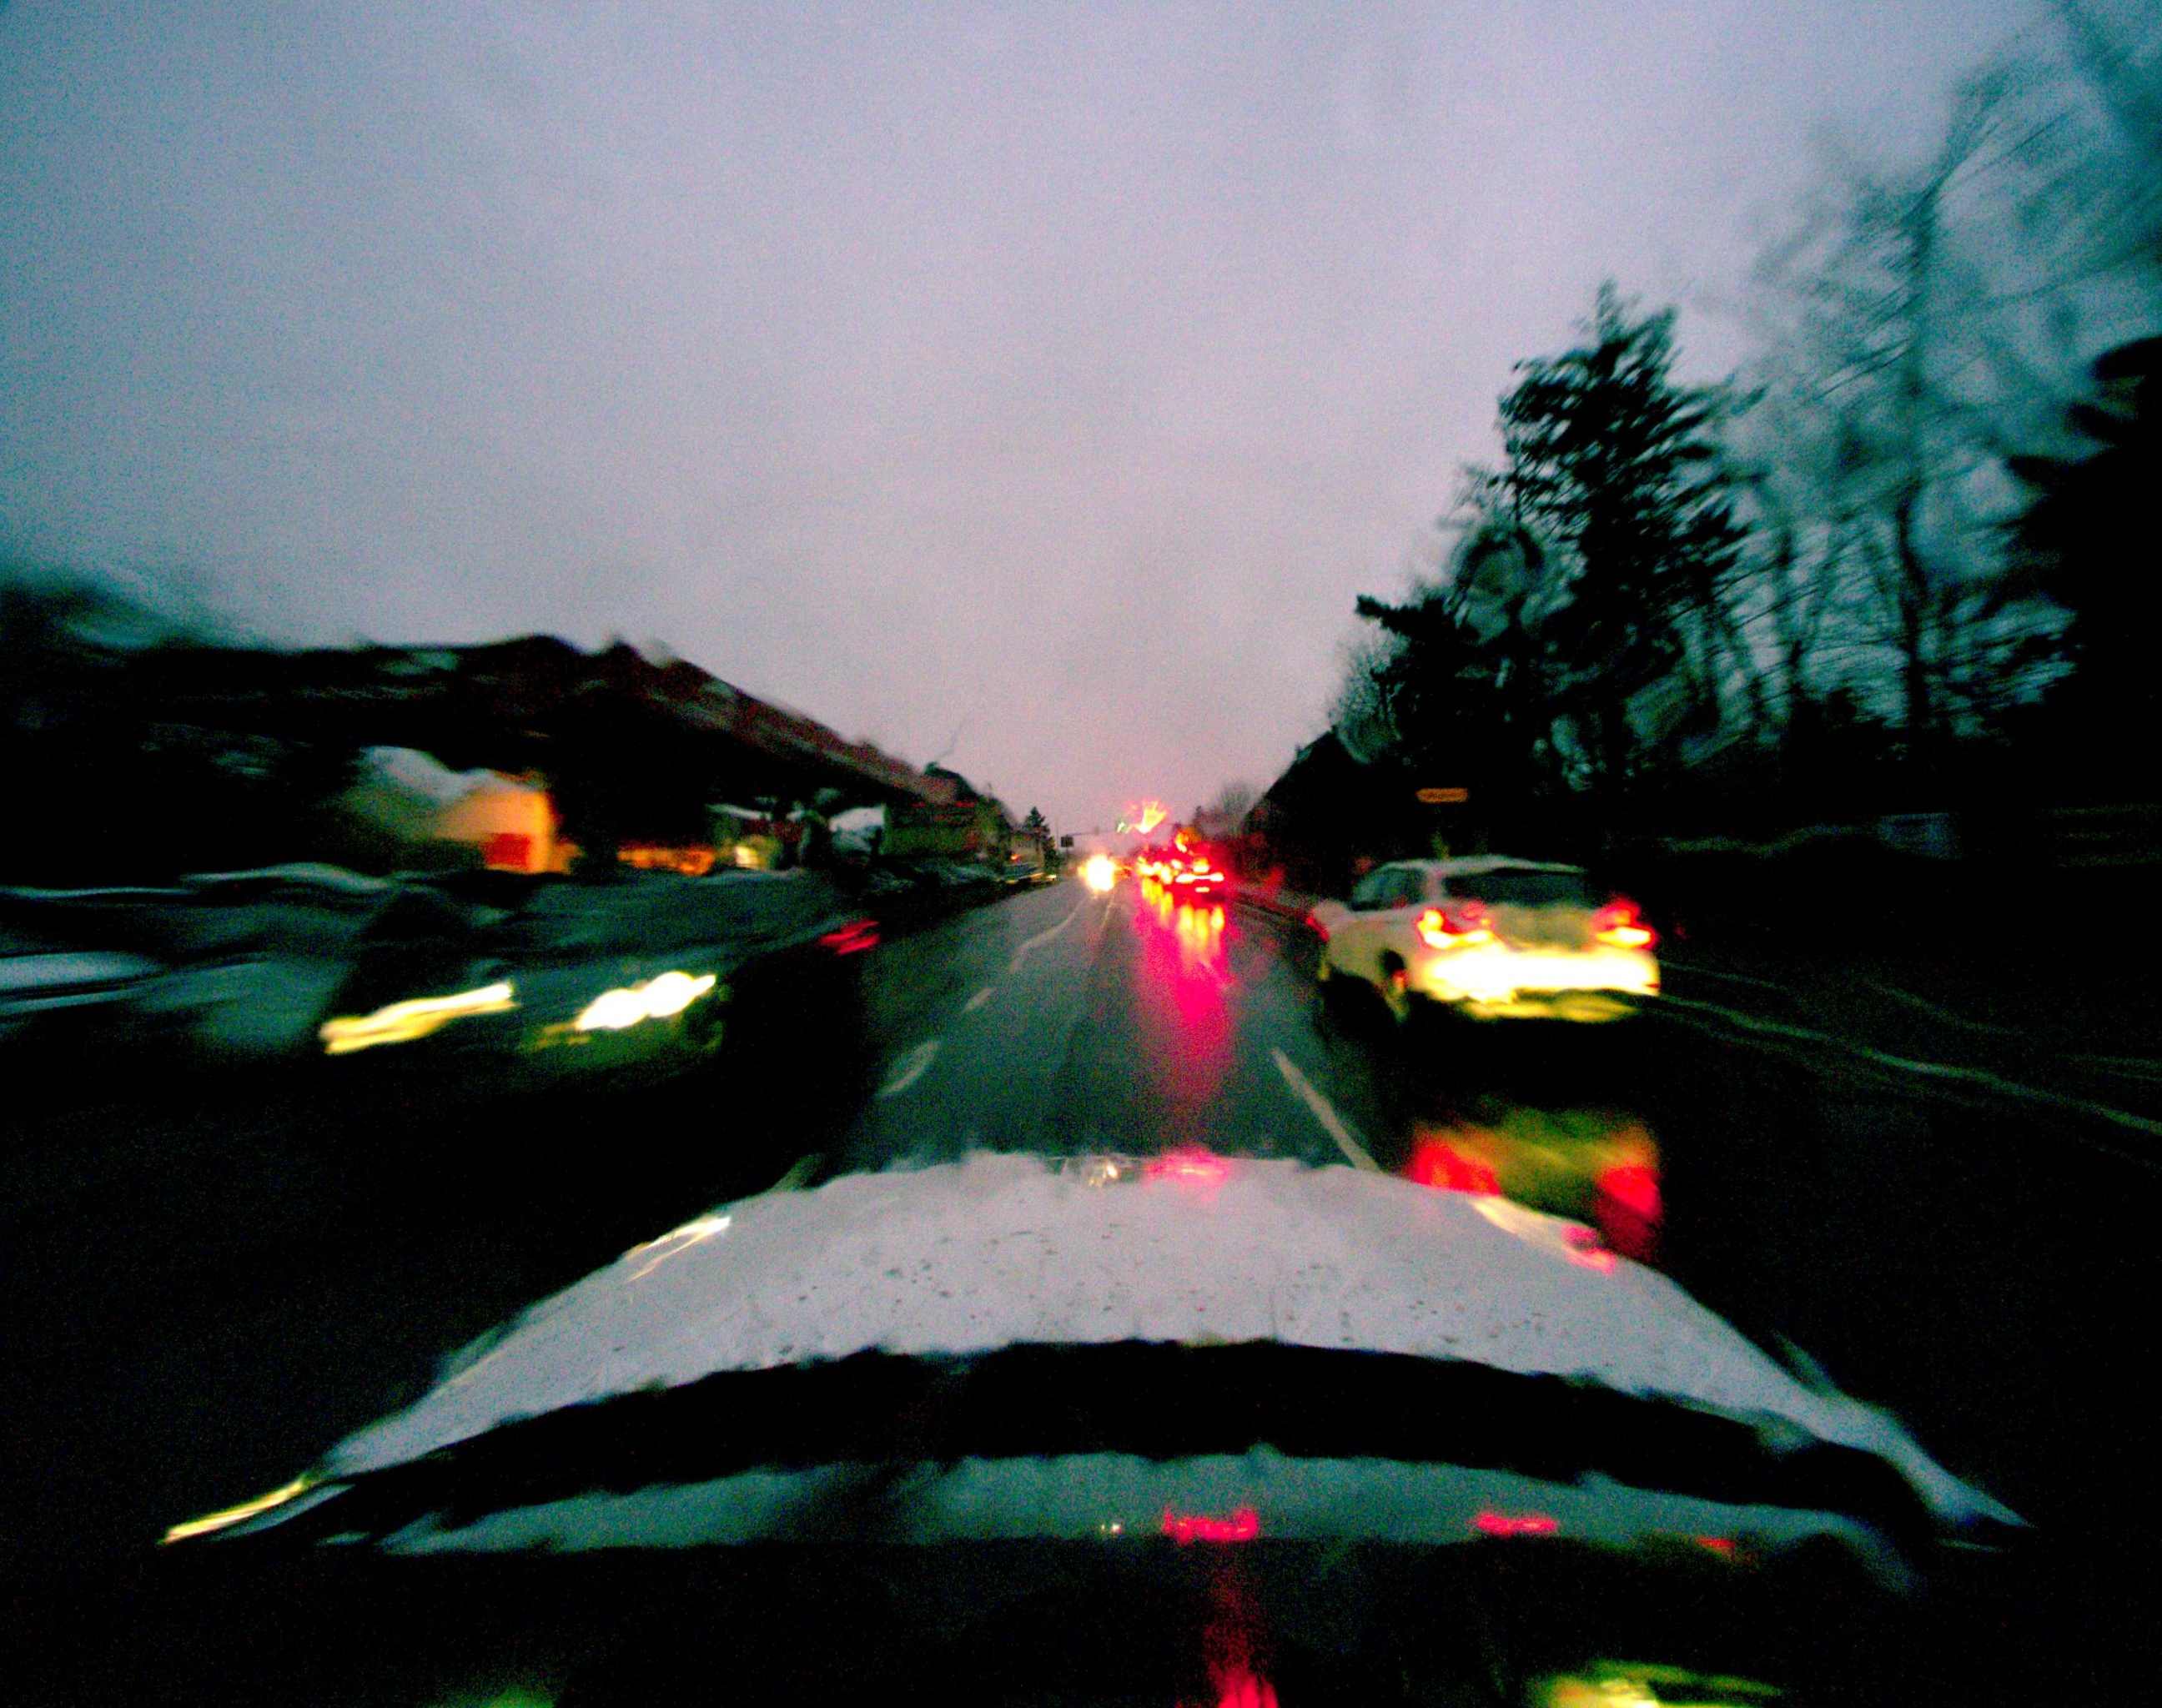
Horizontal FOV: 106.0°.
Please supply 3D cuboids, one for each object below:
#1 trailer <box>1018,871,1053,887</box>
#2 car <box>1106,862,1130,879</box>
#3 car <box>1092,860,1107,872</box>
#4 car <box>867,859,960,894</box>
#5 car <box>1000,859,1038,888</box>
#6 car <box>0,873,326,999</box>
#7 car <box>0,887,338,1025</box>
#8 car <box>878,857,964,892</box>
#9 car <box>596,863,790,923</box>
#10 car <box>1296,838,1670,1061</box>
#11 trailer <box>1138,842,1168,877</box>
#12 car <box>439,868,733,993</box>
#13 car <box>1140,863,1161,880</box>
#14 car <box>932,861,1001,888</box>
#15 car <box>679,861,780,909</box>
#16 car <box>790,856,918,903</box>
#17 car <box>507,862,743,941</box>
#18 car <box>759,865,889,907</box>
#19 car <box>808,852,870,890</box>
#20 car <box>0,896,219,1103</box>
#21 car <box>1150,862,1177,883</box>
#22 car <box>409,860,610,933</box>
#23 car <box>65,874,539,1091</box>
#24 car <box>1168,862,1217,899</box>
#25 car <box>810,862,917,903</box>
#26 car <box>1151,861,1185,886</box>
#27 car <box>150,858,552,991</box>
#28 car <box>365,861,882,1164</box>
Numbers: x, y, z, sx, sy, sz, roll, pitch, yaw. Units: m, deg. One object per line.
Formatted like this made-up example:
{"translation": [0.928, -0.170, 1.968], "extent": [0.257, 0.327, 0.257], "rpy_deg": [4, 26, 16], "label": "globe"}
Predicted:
{"translation": [-3.458, 1.918, 63.159], "extent": [1.985, 1.039, 6.108], "rpy_deg": [-2, 0, 3], "label": "trailer"}
{"translation": [3.630, 1.604, 80.752], "extent": [2.041, 1.573, 4.702], "rpy_deg": [-2, -1, 0], "label": "car"}
{"translation": [2.827, 1.806, 124.134], "extent": [1.983, 1.746, 4.006], "rpy_deg": [-3, -1, 6], "label": "car"}
{"translation": [-8.608, 1.116, 42.018], "extent": [4.259, 1.662, 2.001], "rpy_deg": [1, -1, 2], "label": "car"}
{"translation": [-4.177, 1.277, 55.557], "extent": [1.962, 1.830, 4.516], "rpy_deg": [-2, 0, 3], "label": "car"}
{"translation": [-14.177, 1.085, 12.276], "extent": [1.826, 1.489, 3.875], "rpy_deg": [0, 0, 4], "label": "car"}
{"translation": [-11.247, 1.082, 9.295], "extent": [3.843, 1.346, 1.840], "rpy_deg": [0, -1, 2], "label": "car"}
{"translation": [-8.803, 1.106, 45.045], "extent": [4.259, 1.764, 2.001], "rpy_deg": [1, -1, 2], "label": "car"}
{"translation": [-9.525, 0.922, 20.236], "extent": [3.843, 1.410, 1.945], "rpy_deg": [0, -1, 2], "label": "car"}
{"translation": [3.481, 0.705, 8.113], "extent": [1.701, 1.576, 4.468], "rpy_deg": [-1, 0, 3], "label": "car"}
{"translation": [7.146, 0.608, 82.301], "extent": [2.478, 3.241, 10.873], "rpy_deg": [-1, -1, 2], "label": "trailer"}
{"translation": [-6.759, 0.957, 11.654], "extent": [1.675, 1.421, 3.745], "rpy_deg": [-1, 0, 4], "label": "car"}
{"translation": [6.043, 1.494, 71.001], "extent": [1.656, 1.439, 4.384], "rpy_deg": [0, -1, 2], "label": "car"}
{"translation": [-7.666, 1.362, 54.799], "extent": [4.259, 1.627, 2.001], "rpy_deg": [1, -1, 2], "label": "car"}
{"translation": [-13.335, 1.127, 31.220], "extent": [1.881, 1.657, 4.151], "rpy_deg": [-1, 0, 3], "label": "car"}
{"translation": [-8.550, 0.949, 30.927], "extent": [4.264, 1.657, 1.981], "rpy_deg": [-1, -1, 2], "label": "car"}
{"translation": [-9.646, 0.975, 17.436], "extent": [4.015, 1.554, 1.824], "rpy_deg": [0, 0, 2], "label": "car"}
{"translation": [-8.790, 1.081, 28.100], "extent": [3.843, 1.346, 1.840], "rpy_deg": [-1, -1, 2], "label": "car"}
{"translation": [-12.513, 0.874, 42.380], "extent": [1.879, 1.869, 4.002], "rpy_deg": [-2, -1, 2], "label": "car"}
{"translation": [-9.876, 1.115, 6.630], "extent": [3.760, 1.459, 1.776], "rpy_deg": [0, 0, 0], "label": "car"}
{"translation": [6.376, 1.379, 63.178], "extent": [1.829, 1.568, 4.506], "rpy_deg": [0, -1, 3], "label": "car"}
{"translation": [-13.640, 0.937, 19.791], "extent": [1.859, 1.554, 4.048], "rpy_deg": [0, 0, 4], "label": "car"}
{"translation": [-7.023, 1.031, 7.793], "extent": [1.512, 1.543, 3.017], "rpy_deg": [-3, 0, 2], "label": "car"}
{"translation": [4.497, 1.034, 33.409], "extent": [1.634, 1.366, 4.772], "rpy_deg": [-1, -1, 3], "label": "car"}
{"translation": [-8.862, 1.143, 33.375], "extent": [3.843, 1.559, 1.840], "rpy_deg": [-1, -1, 2], "label": "car"}
{"translation": [4.873, 1.071, 46.060], "extent": [1.646, 1.336, 4.275], "rpy_deg": [-1, -1, 3], "label": "car"}
{"translation": [-10.145, 0.931, 11.543], "extent": [4.029, 1.650, 1.944], "rpy_deg": [-1, -1, 4], "label": "car"}
{"translation": [-2.950, 0.867, 6.367], "extent": [1.597, 1.534, 4.002], "rpy_deg": [-3, -1, 2], "label": "car"}
